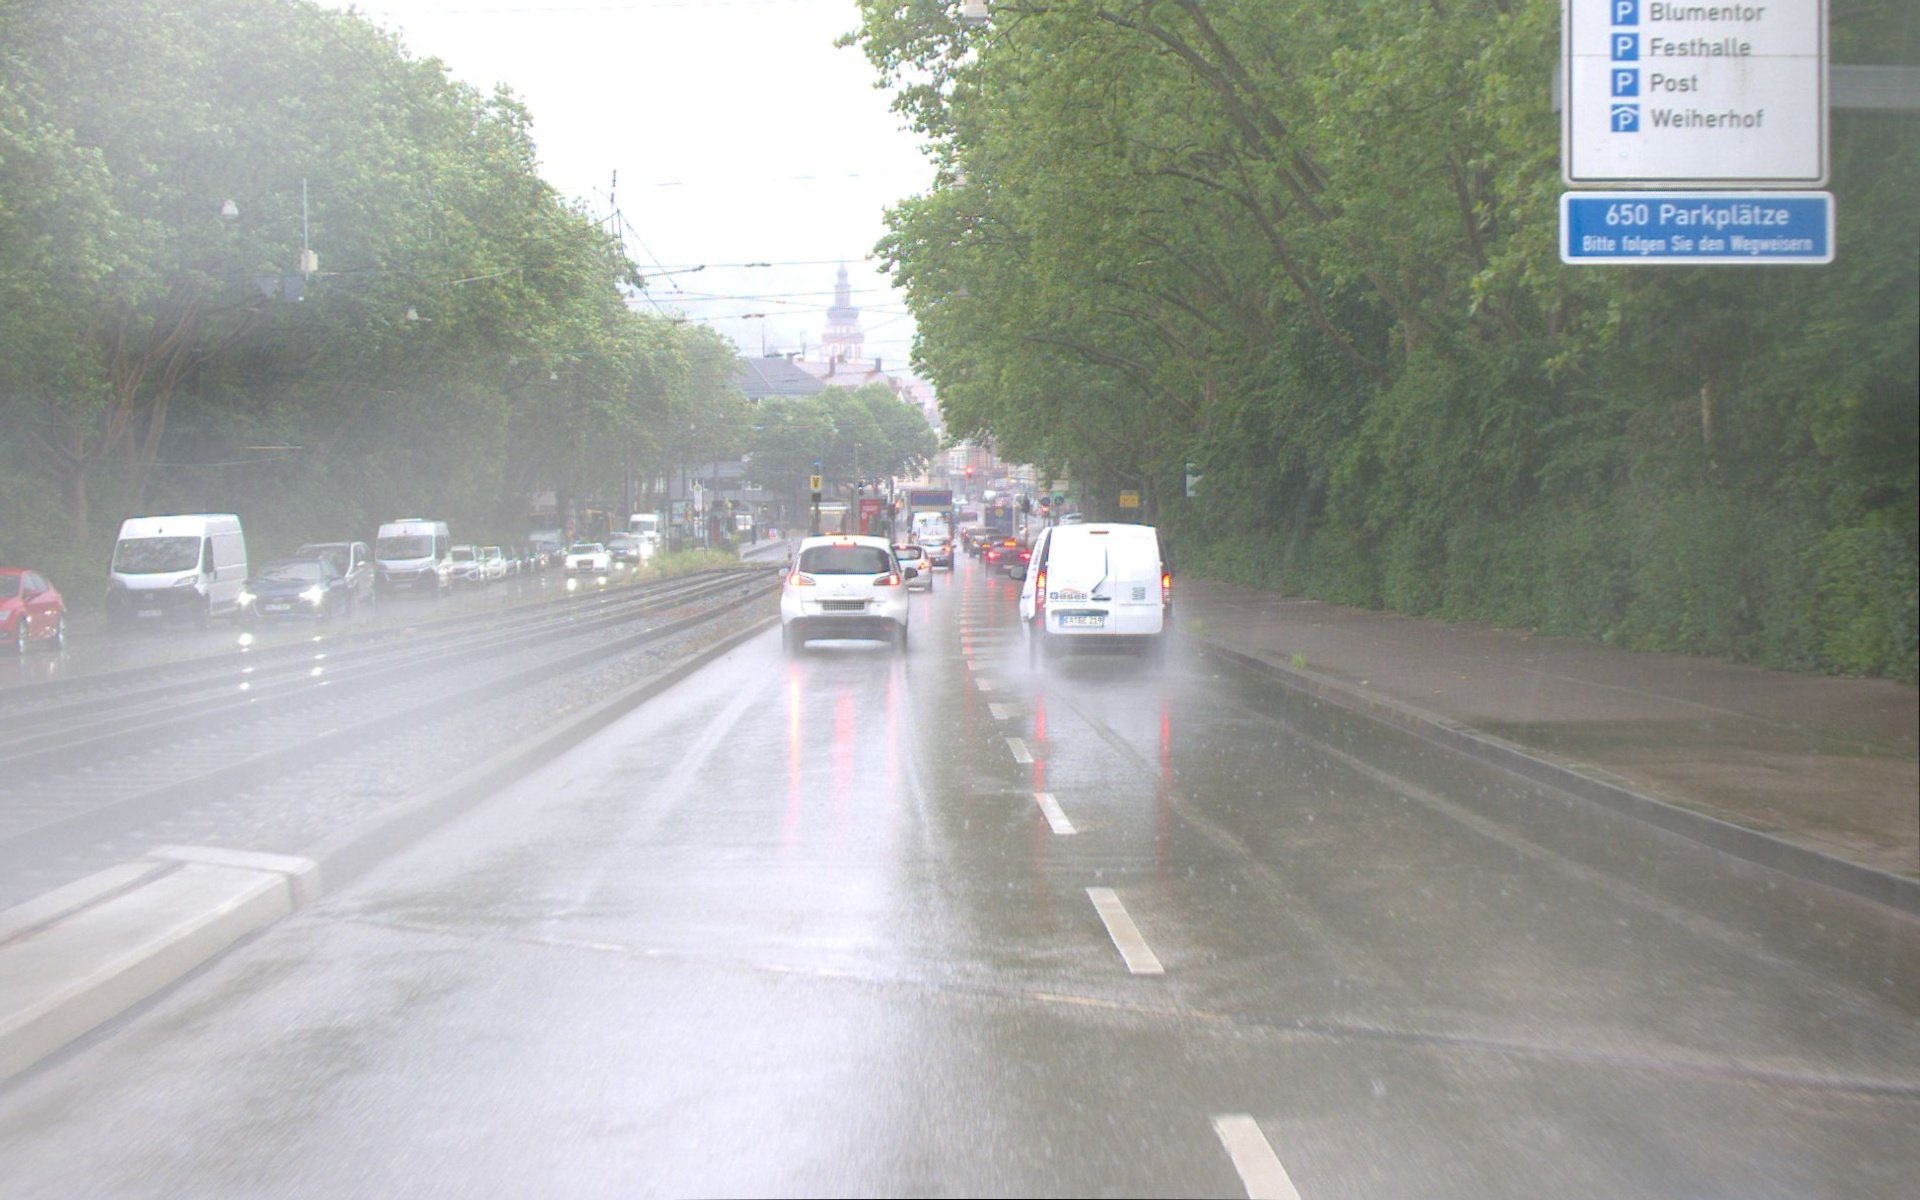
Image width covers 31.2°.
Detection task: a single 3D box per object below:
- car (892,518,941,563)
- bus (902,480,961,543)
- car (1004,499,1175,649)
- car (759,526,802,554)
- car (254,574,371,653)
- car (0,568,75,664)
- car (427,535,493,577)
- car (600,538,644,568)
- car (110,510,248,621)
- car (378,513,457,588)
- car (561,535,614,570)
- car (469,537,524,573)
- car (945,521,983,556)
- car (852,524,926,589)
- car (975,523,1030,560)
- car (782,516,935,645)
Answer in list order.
[{"bbox_3d":[-1.866,-2.581,148.612,1.993,1.820,4.000,1,2,1],"label":"car"},{"bbox_3d":[-1.742,-5.627,217.209,3.389,3.823,9.739,1,2,1],"label":"bus"},{"bbox_3d":[1.575,-0.364,42.718,1.993,1.720,4.000,1,2,1],"label":"car"},{"bbox_3d":[-9.955,-3.336,190.616,1.805,1.345,4.264,-2,2,4],"label":"car"},{"bbox_3d":[-13.462,0.256,71.664,1.506,1.396,4.708,-2,2,0],"label":"car"},{"bbox_3d":[-16.245,0.265,57.836,1.609,1.437,4.263,-2,2,-1],"label":"car"},{"bbox_3d":[-18.292,-1.629,125.850,1.805,1.345,4.264,-2,2,-1],"label":"car"},{"bbox_3d":[-17.018,-2.387,173.248,1.805,1.345,4.264,-2,2,-1],"label":"car"},{"bbox_3d":[-16.610,-0.784,73.412,1.741,2.162,5.815,-2,2,-2],"label":"car"},{"bbox_3d":[-17.299,-1.601,109.841,1.800,2.214,4.278,-2,2,-1],"label":"car"},{"bbox_3d":[-15.894,-2.045,146.874,1.805,1.345,4.264,-2,2,-1],"label":"car"},{"bbox_3d":[-20.042,-1.958,148.770,1.805,1.345,4.264,-2,2,-1],"label":"car"},{"bbox_3d":[0.221,-3.460,192.901,1.993,1.820,4.000,1,2,1],"label":"car"},{"bbox_3d":[-2.099,-1.310,102.521,1.993,1.820,4.000,1,2,1],"label":"car"},{"bbox_3d":[1.598,-2.204,128.844,1.993,1.316,4.000,1,2,1],"label":"car"},{"bbox_3d":[-1.421,-0.323,49.634,1.993,1.711,4.000,1,2,1],"label":"car"}]
